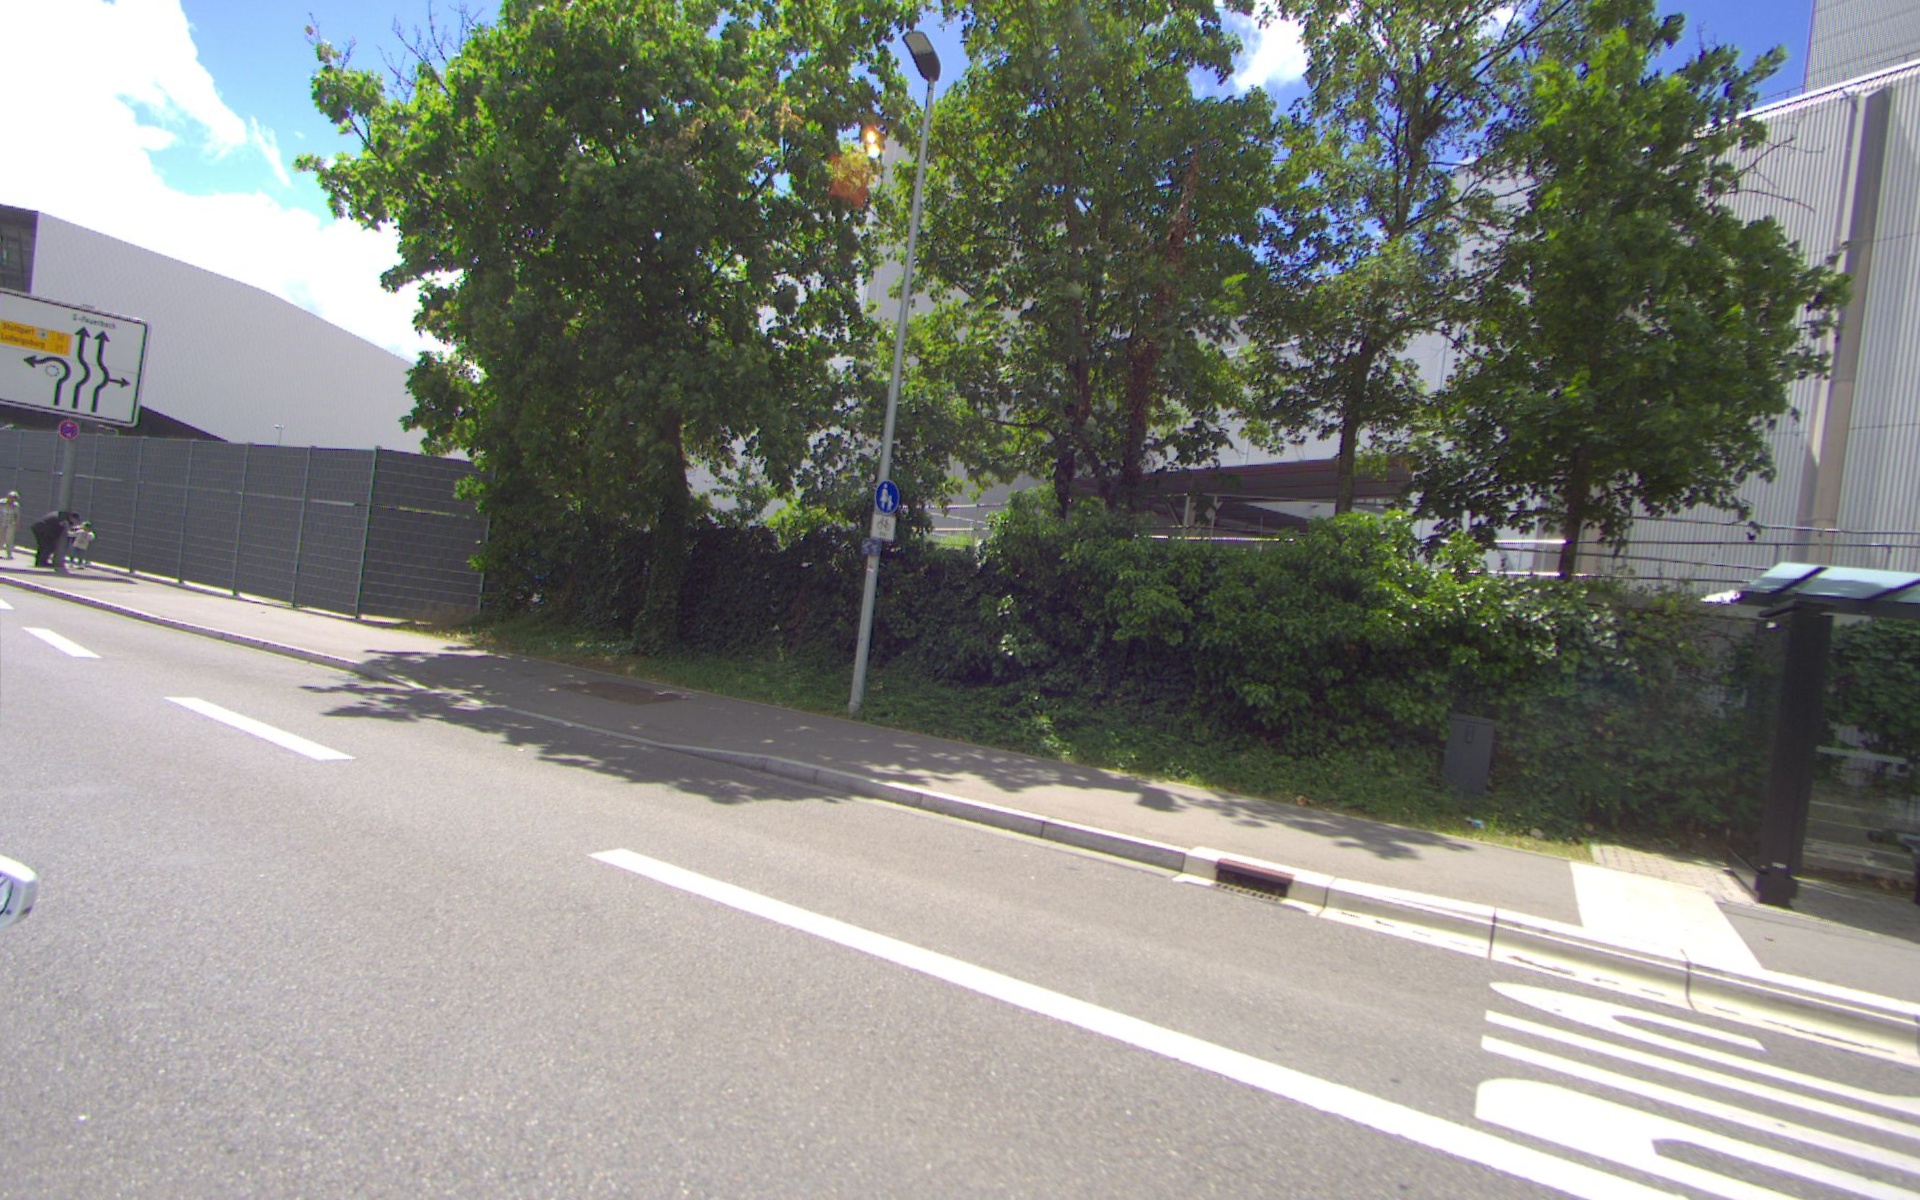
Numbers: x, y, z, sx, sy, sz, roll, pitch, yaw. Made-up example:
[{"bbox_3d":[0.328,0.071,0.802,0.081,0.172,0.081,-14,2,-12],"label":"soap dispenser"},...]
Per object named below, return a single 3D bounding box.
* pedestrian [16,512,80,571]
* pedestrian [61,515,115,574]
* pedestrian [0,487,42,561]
[{"bbox_3d":[-20.419,-1.303,22.518,0.956,1.162,0.758,6,-2,34],"label":"pedestrian"},{"bbox_3d":[-20.178,-1.280,23.287,0.589,1.220,0.715,6,-2,34],"label":"pedestrian"},{"bbox_3d":[-22.382,-1.809,23.703,0.719,1.615,0.796,6,-1,30],"label":"pedestrian"}]
